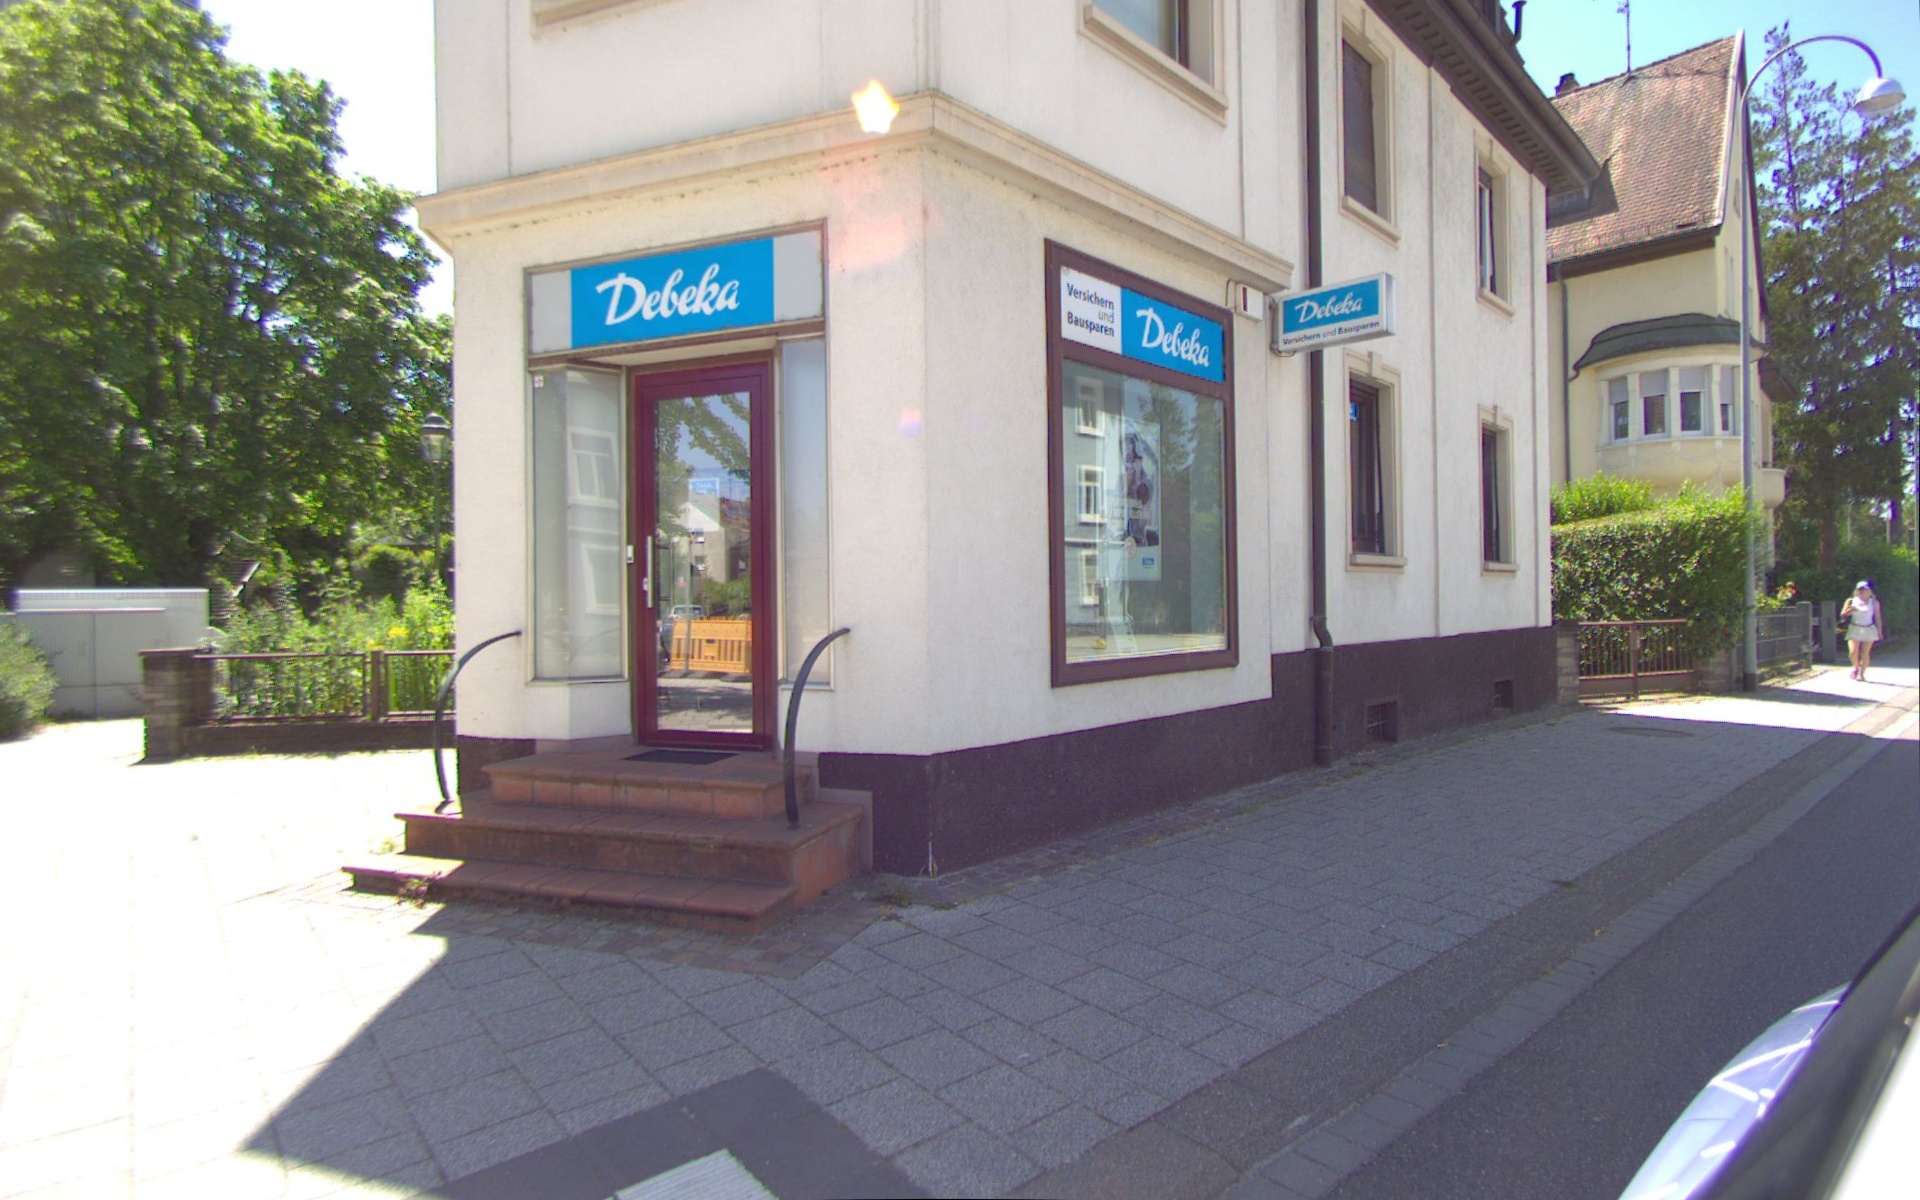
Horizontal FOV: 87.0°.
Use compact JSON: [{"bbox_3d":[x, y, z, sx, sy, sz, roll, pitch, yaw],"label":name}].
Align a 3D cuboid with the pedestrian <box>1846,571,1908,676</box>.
[{"bbox_3d":[15.218,0.361,16.794,0.624,1.663,0.760,6,5,44],"label":"pedestrian"}]
